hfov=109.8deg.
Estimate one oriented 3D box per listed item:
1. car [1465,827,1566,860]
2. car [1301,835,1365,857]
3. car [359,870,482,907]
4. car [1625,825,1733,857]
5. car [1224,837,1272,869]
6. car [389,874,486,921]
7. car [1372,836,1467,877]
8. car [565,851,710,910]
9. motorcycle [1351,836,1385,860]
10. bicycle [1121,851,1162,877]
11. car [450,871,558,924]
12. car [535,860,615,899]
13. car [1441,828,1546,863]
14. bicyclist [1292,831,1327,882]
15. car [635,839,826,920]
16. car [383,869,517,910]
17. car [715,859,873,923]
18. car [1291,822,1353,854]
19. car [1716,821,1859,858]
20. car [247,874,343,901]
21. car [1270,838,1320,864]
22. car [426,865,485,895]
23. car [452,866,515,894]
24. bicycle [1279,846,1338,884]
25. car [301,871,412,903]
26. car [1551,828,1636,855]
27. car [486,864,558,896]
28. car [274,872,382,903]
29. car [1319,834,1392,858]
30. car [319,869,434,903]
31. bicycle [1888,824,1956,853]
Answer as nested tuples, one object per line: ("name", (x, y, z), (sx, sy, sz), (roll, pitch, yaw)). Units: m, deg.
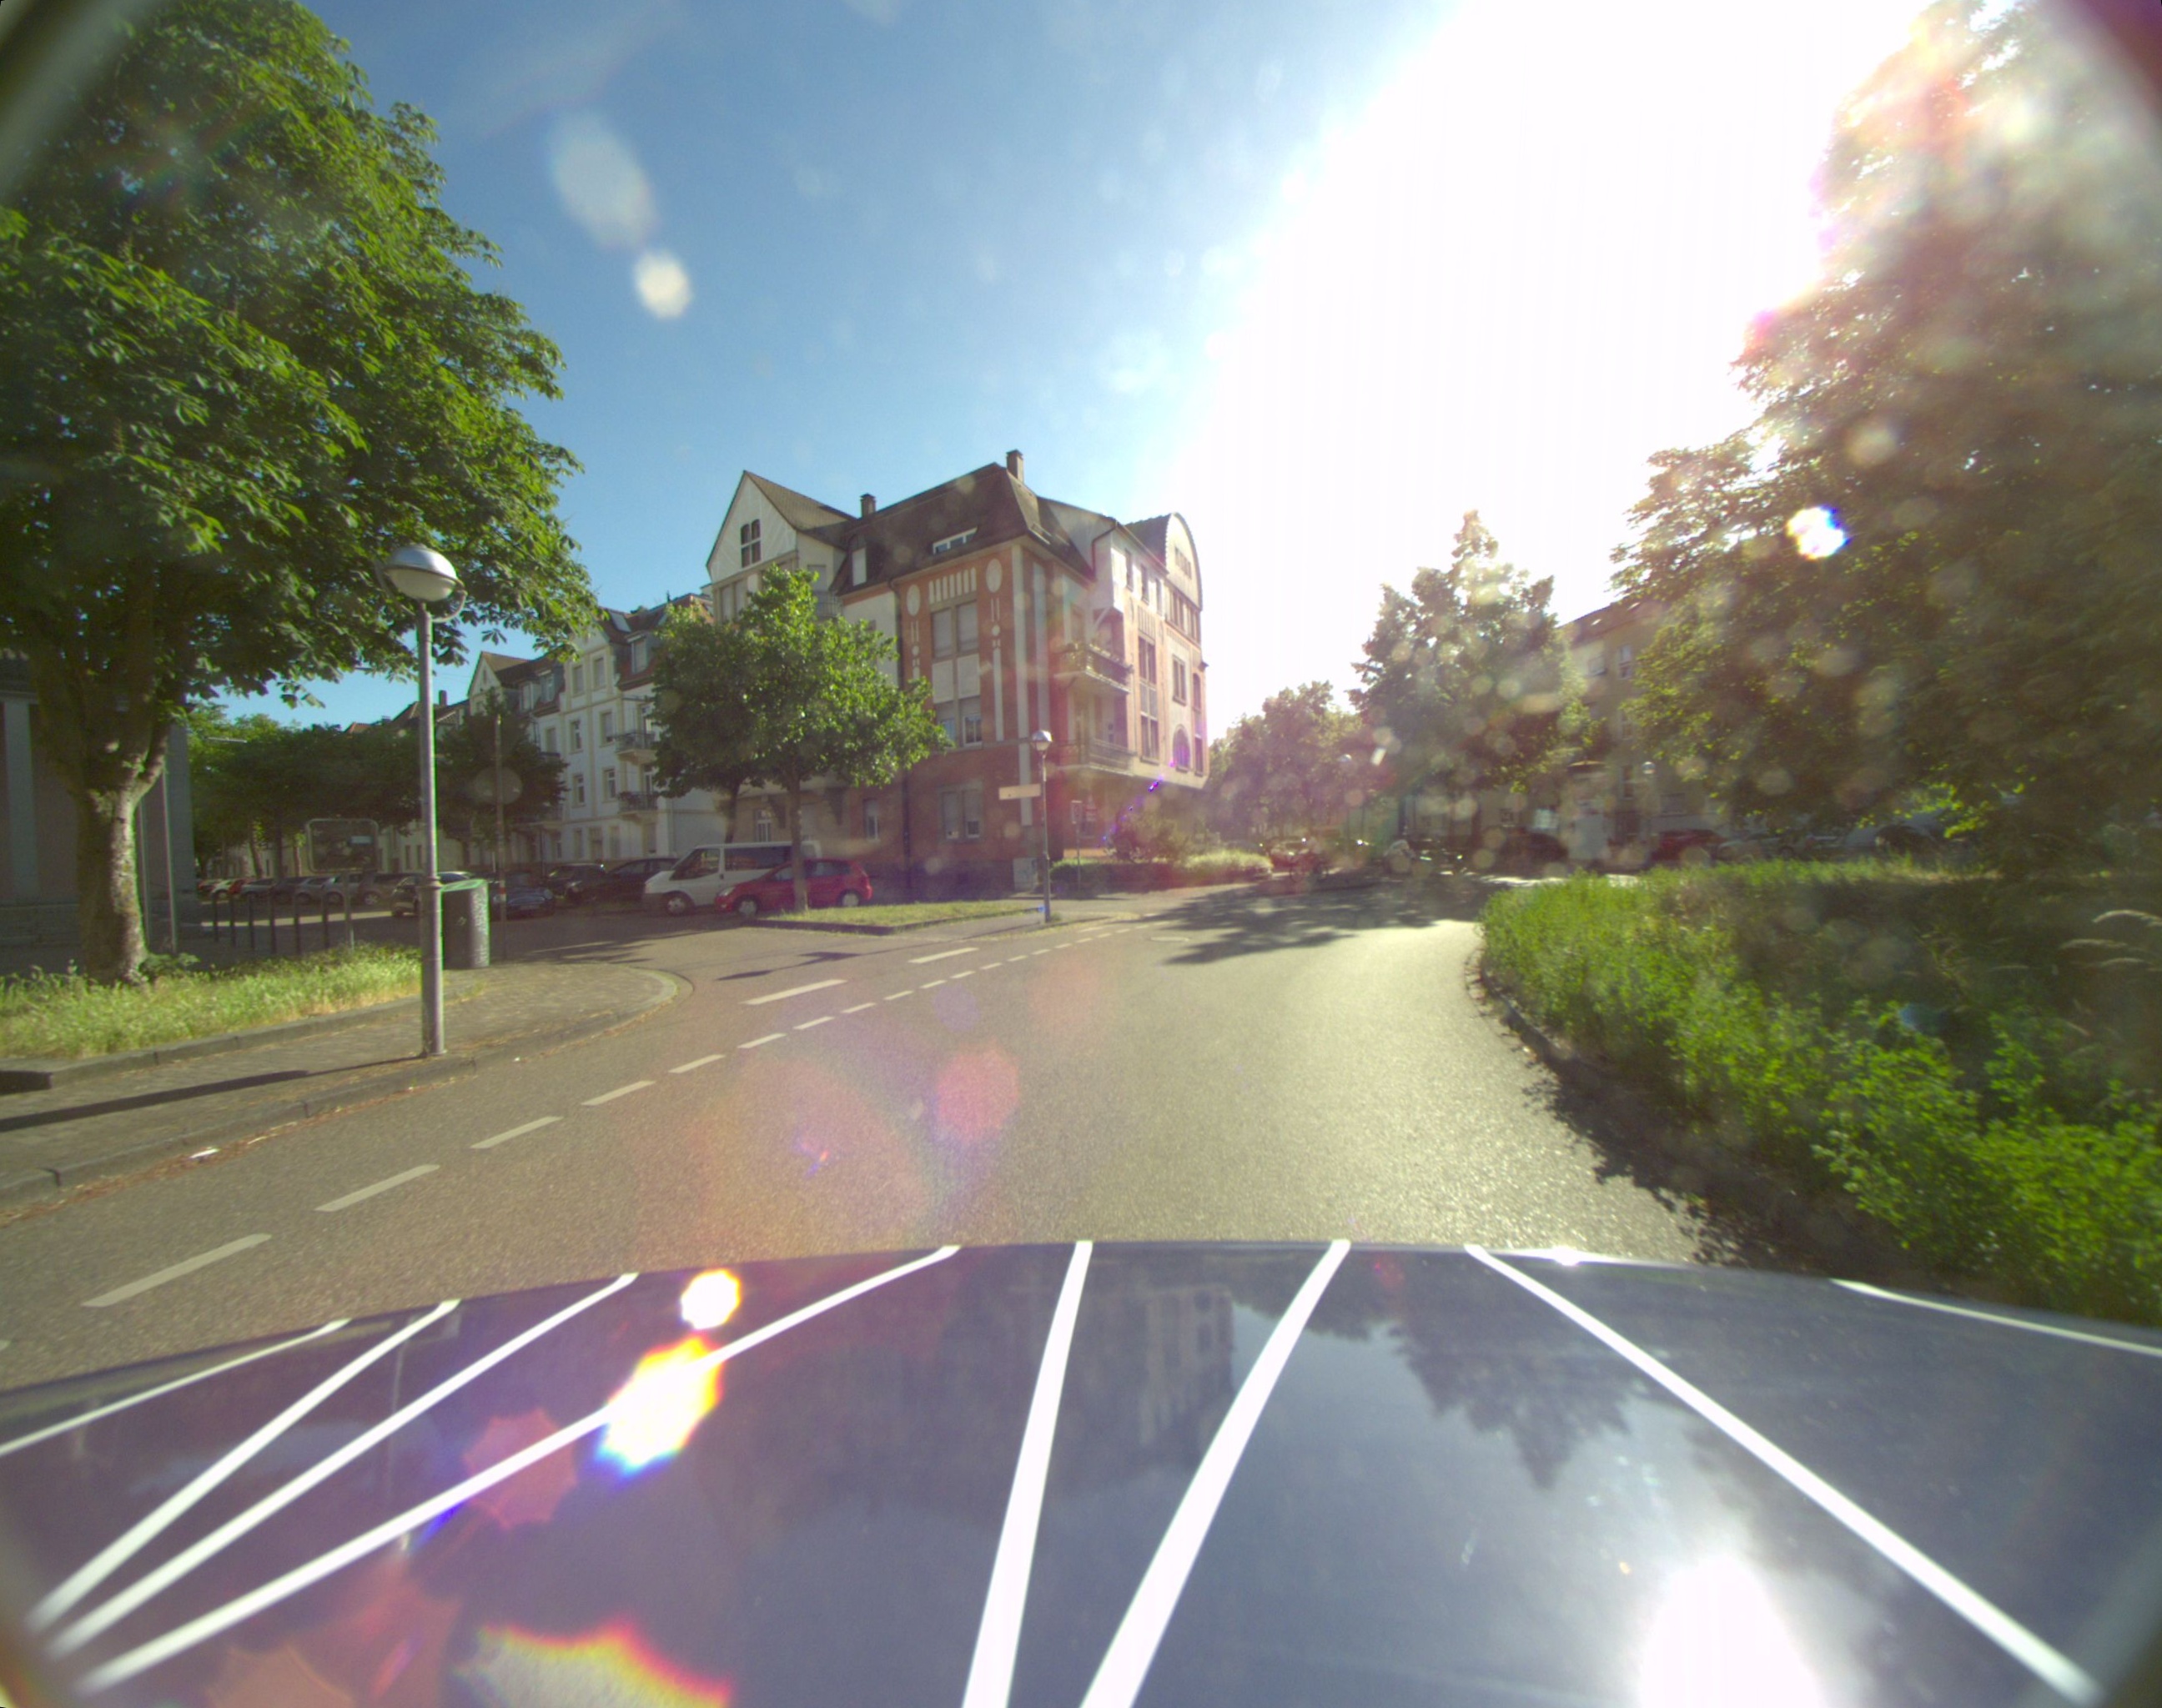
("car", (20.645, -0.485, 36.177), (3.989, 1.464, 1.763), (-1, 1, 36))
("car", (18.145, -0.594, 54.700), (3.989, 1.445, 1.827), (-1, 1, 35))
("car", (-31.308, 1.596, 36.158), (3.958, 1.488, 1.758), (-2, 1, -19))
("car", (29.465, -0.616, 37.613), (1.734, 1.431, 4.386), (-2, 1, -3))
("car", (10.079, -0.086, 46.249), (1.797, 1.757, 4.208), (-4, 1, -1))
("car", (-21.678, 1.413, 25.563), (3.603, 1.414, 1.617), (-1, 1, 36))
("car", (13.403, 0.071, 30.383), (1.797, 1.427, 4.208), (-3, 1, -1))
("car", (-14.739, 0.839, 25.506), (3.960, 1.728, 1.758), (-2, 1, -24))
("motorcycle", (17.039, -0.376, 45.148), (1.802, 1.340, 0.727), (-2, 1, -21))
("bicycle", (2.585, 0.431, 32.583), (1.670, 1.065, 0.501), (-1, 1, 26))
("car", (-17.681, 1.278, 23.237), (3.603, 1.414, 1.617), (-1, 1, 36))
("car", (-23.114, 1.147, 34.664), (3.944, 1.648, 1.765), (-1, 1, 37))
("car", (18.767, -0.365, 34.638), (3.989, 1.464, 1.763), (-1, 1, 37))
("bicyclist", (7.784, 0.067, 25.932), (0.813, 1.686, 0.763), (-3, 2, -25))
("car", (-9.913, 0.661, 21.877), (4.710, 2.033, 1.990), (-2, 1, -21))
("car", (-26.715, 1.472, 32.320), (3.958, 1.488, 1.758), (-2, 1, -19))
("car", (-7.539, 0.906, 20.038), (3.700, 1.427, 1.666), (-2, 1, -24))
("car", (20.066, -1.352, 63.280), (4.582, 2.476, 1.990), (-2, 1, 31))
("car", (29.799, -0.582, 32.259), (1.732, 1.403, 4.488), (-2, 1, -3))
("car", (-51.703, 2.168, 50.078), (3.961, 1.488, 1.757), (-2, 1, -28))
("car", (13.090, -0.178, 46.681), (1.797, 1.427, 4.208), (-3, 1, -1))
("car", (-37.544, 1.539, 45.560), (3.944, 1.608, 1.765), (-1, 1, 37))
("car", (-33.311, 1.428, 42.341), (3.944, 1.447, 1.765), (-1, 1, 37))
("bicycle", (7.786, 0.368, 25.952), (1.872, 1.191, 0.763), (-3, 2, -25))
("car", (-39.374, 1.743, 41.405), (3.958, 1.488, 1.758), (-2, 1, -19))
("car", (29.340, -0.696, 43.701), (1.734, 1.431, 4.386), (-2, 1, -3))
("car", (-27.928, 1.293, 37.945), (3.944, 1.447, 1.765), (-1, 1, 37))
("car", (-42.595, 1.857, 43.108), (3.961, 1.488, 1.757), (-2, 1, -28))
("car", (17.596, -0.495, 48.744), (3.989, 1.433, 1.827), (-1, 1, 35))
("car", (-36.449, 1.634, 39.431), (3.958, 1.488, 1.758), (-2, 1, -19))
("bicycle", (33.710, -0.600, 30.489), (0.500, 1.101, 1.798), (-2, 1, -13))
